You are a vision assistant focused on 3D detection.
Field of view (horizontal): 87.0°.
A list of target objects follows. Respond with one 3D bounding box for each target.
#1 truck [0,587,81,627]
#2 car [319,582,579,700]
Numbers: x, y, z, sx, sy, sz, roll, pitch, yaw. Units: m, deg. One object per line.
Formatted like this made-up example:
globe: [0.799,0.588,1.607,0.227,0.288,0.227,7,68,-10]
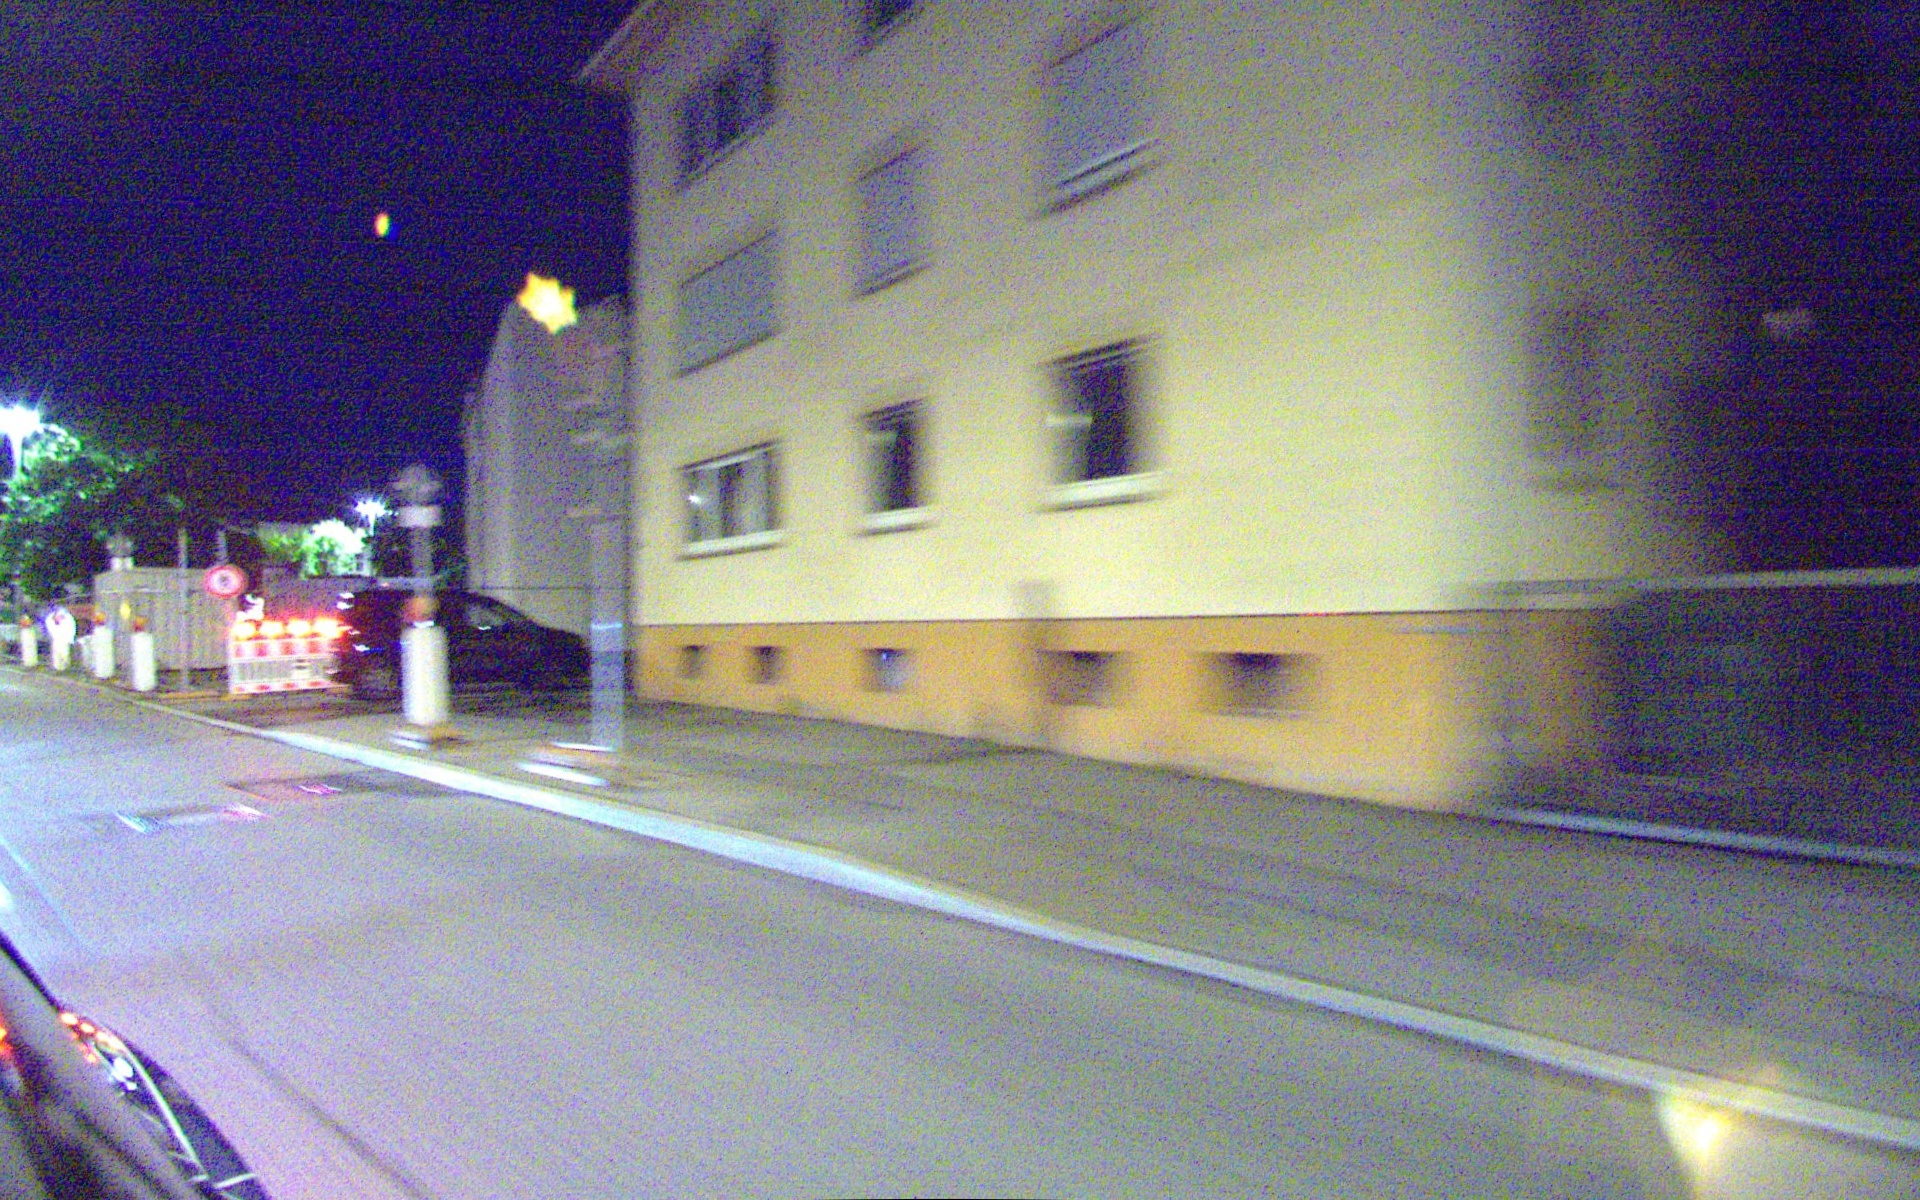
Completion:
truck: [-87.411,0.670,95.881,6.105,3.721,2.407,0,0,-37]
car: [-9.165,0.652,18.236,3.934,1.903,1.913,0,0,-36]
